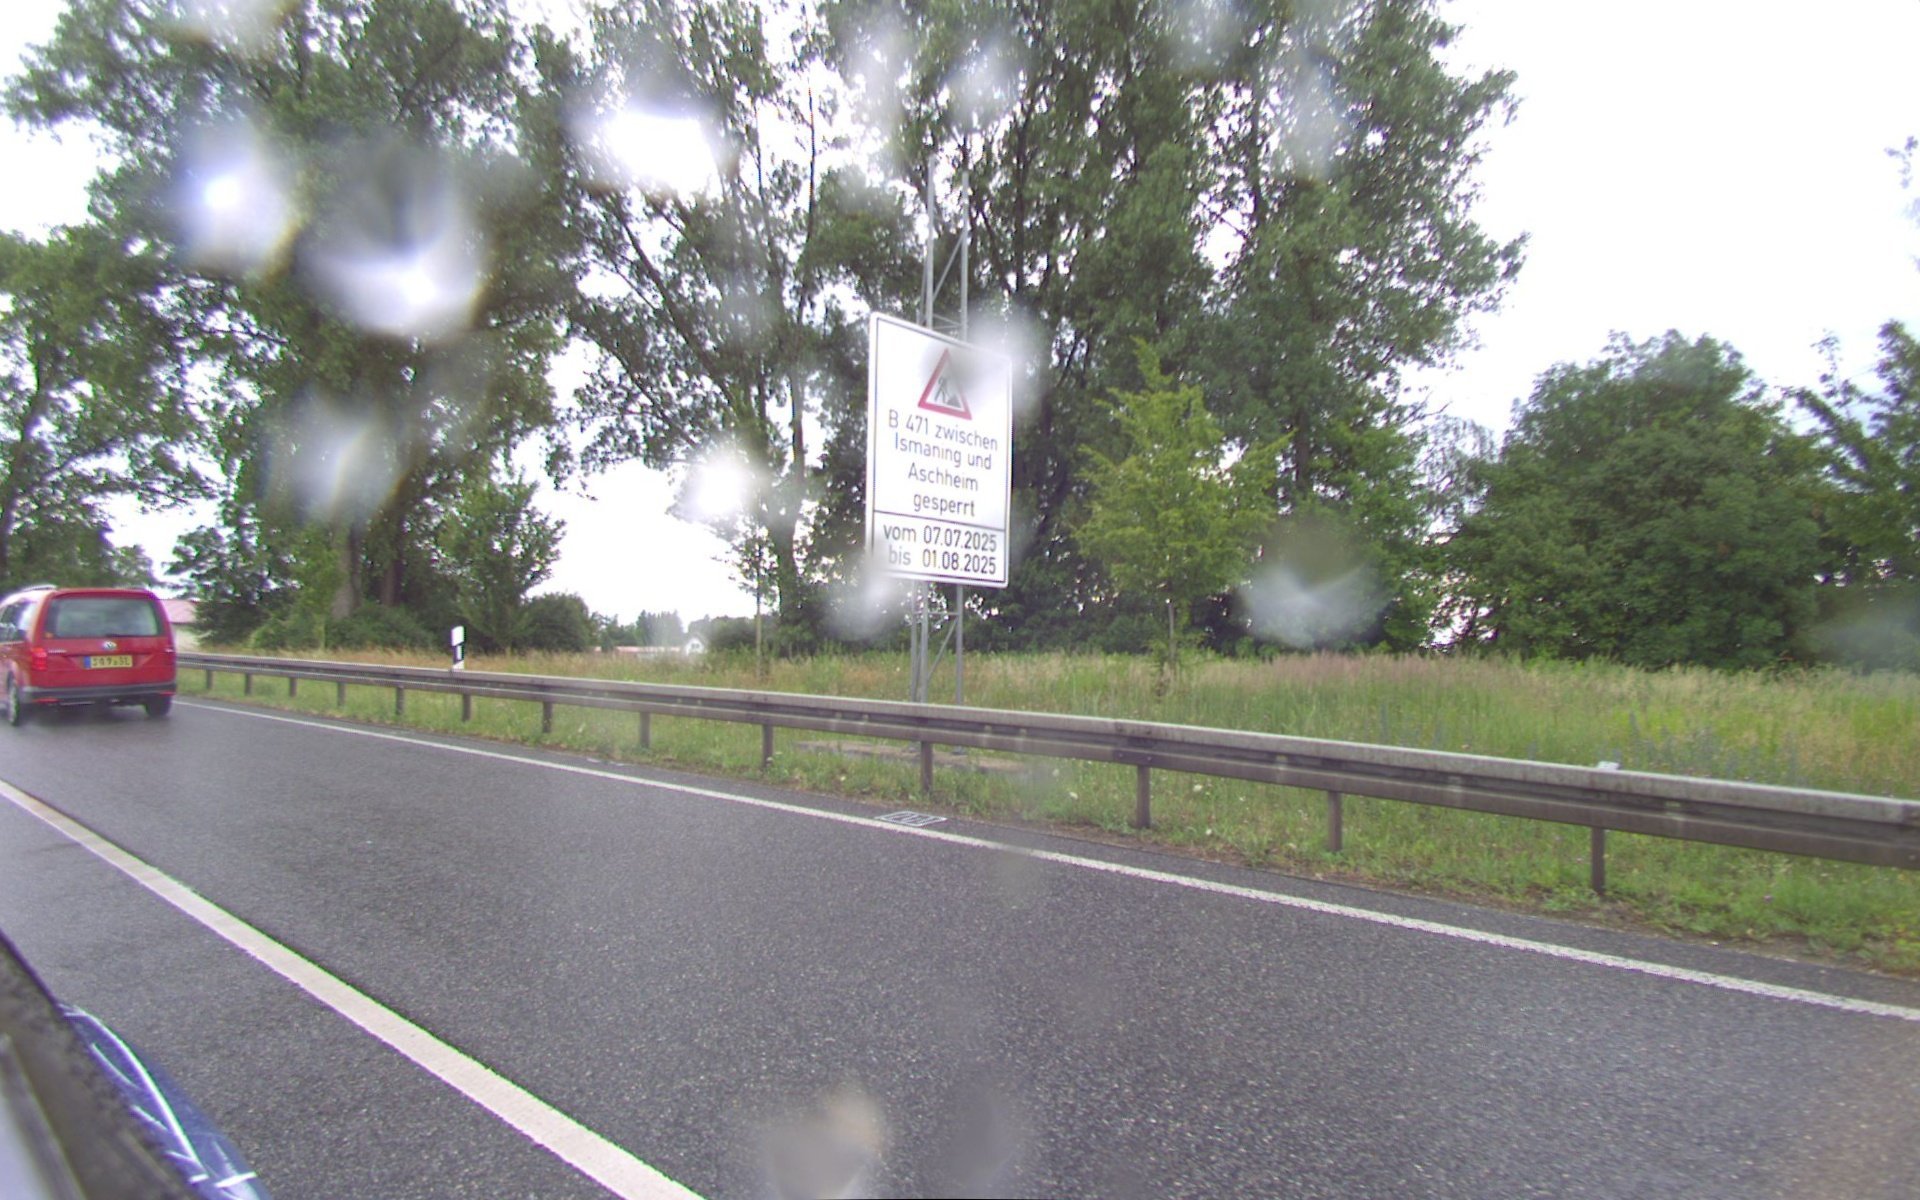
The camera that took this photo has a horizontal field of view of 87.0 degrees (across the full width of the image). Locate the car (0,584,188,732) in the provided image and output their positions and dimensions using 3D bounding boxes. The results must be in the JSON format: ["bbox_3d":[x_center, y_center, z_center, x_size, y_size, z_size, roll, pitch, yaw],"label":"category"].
[{"bbox_3d":[-13.180,0.757,14.856,4.513,1.864,1.784,0,-1,37],"label":"car"}]
